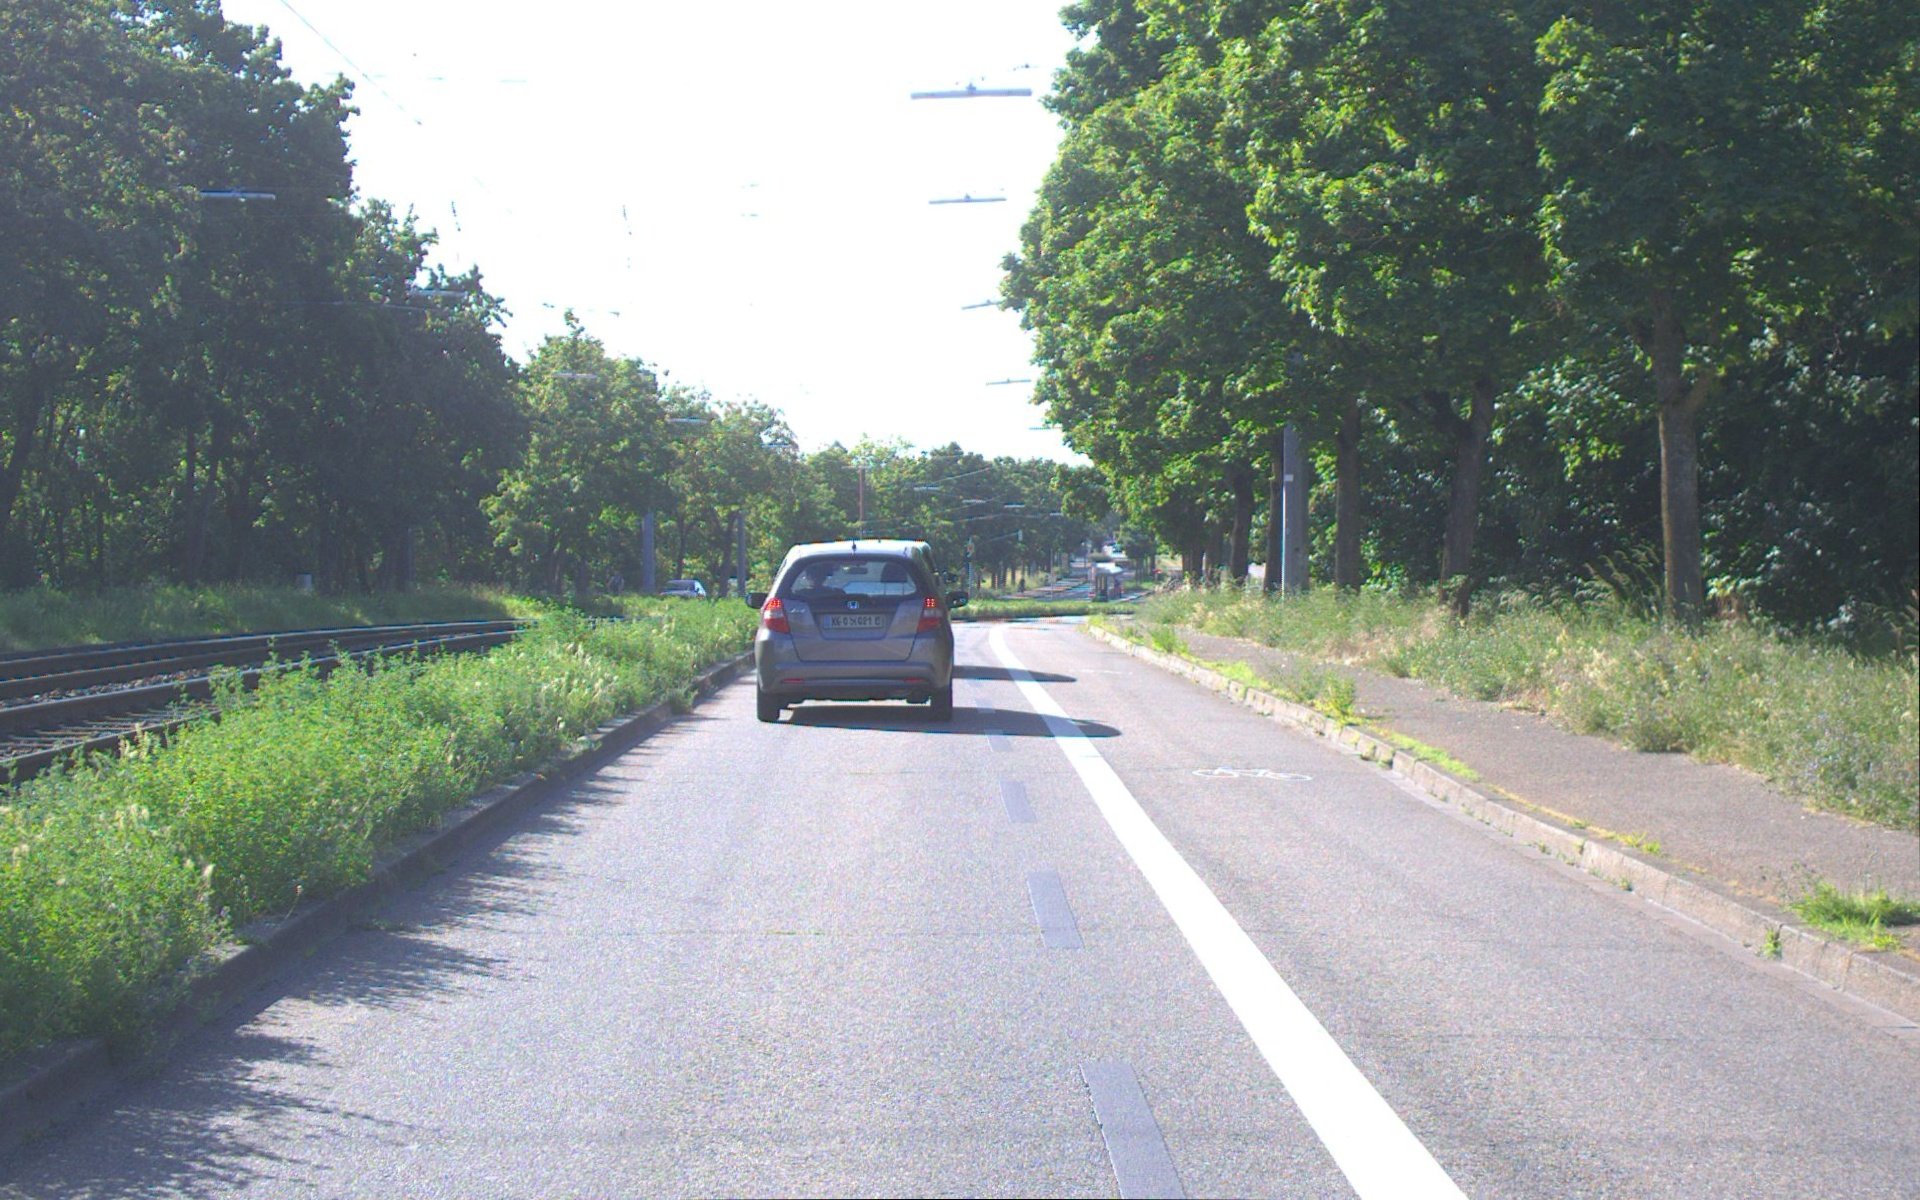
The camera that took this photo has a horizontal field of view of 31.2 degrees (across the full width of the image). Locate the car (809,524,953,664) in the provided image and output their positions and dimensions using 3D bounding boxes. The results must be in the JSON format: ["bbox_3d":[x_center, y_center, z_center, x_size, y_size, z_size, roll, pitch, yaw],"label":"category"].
[{"bbox_3d":[-0.942,-0.113,42.620,1.654,1.502,3.811,2,3,0],"label":"car"}]

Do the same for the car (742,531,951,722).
[{"bbox_3d":[-0.943,0.182,30.303,1.670,1.502,3.811,2,2,0],"label":"car"}]
